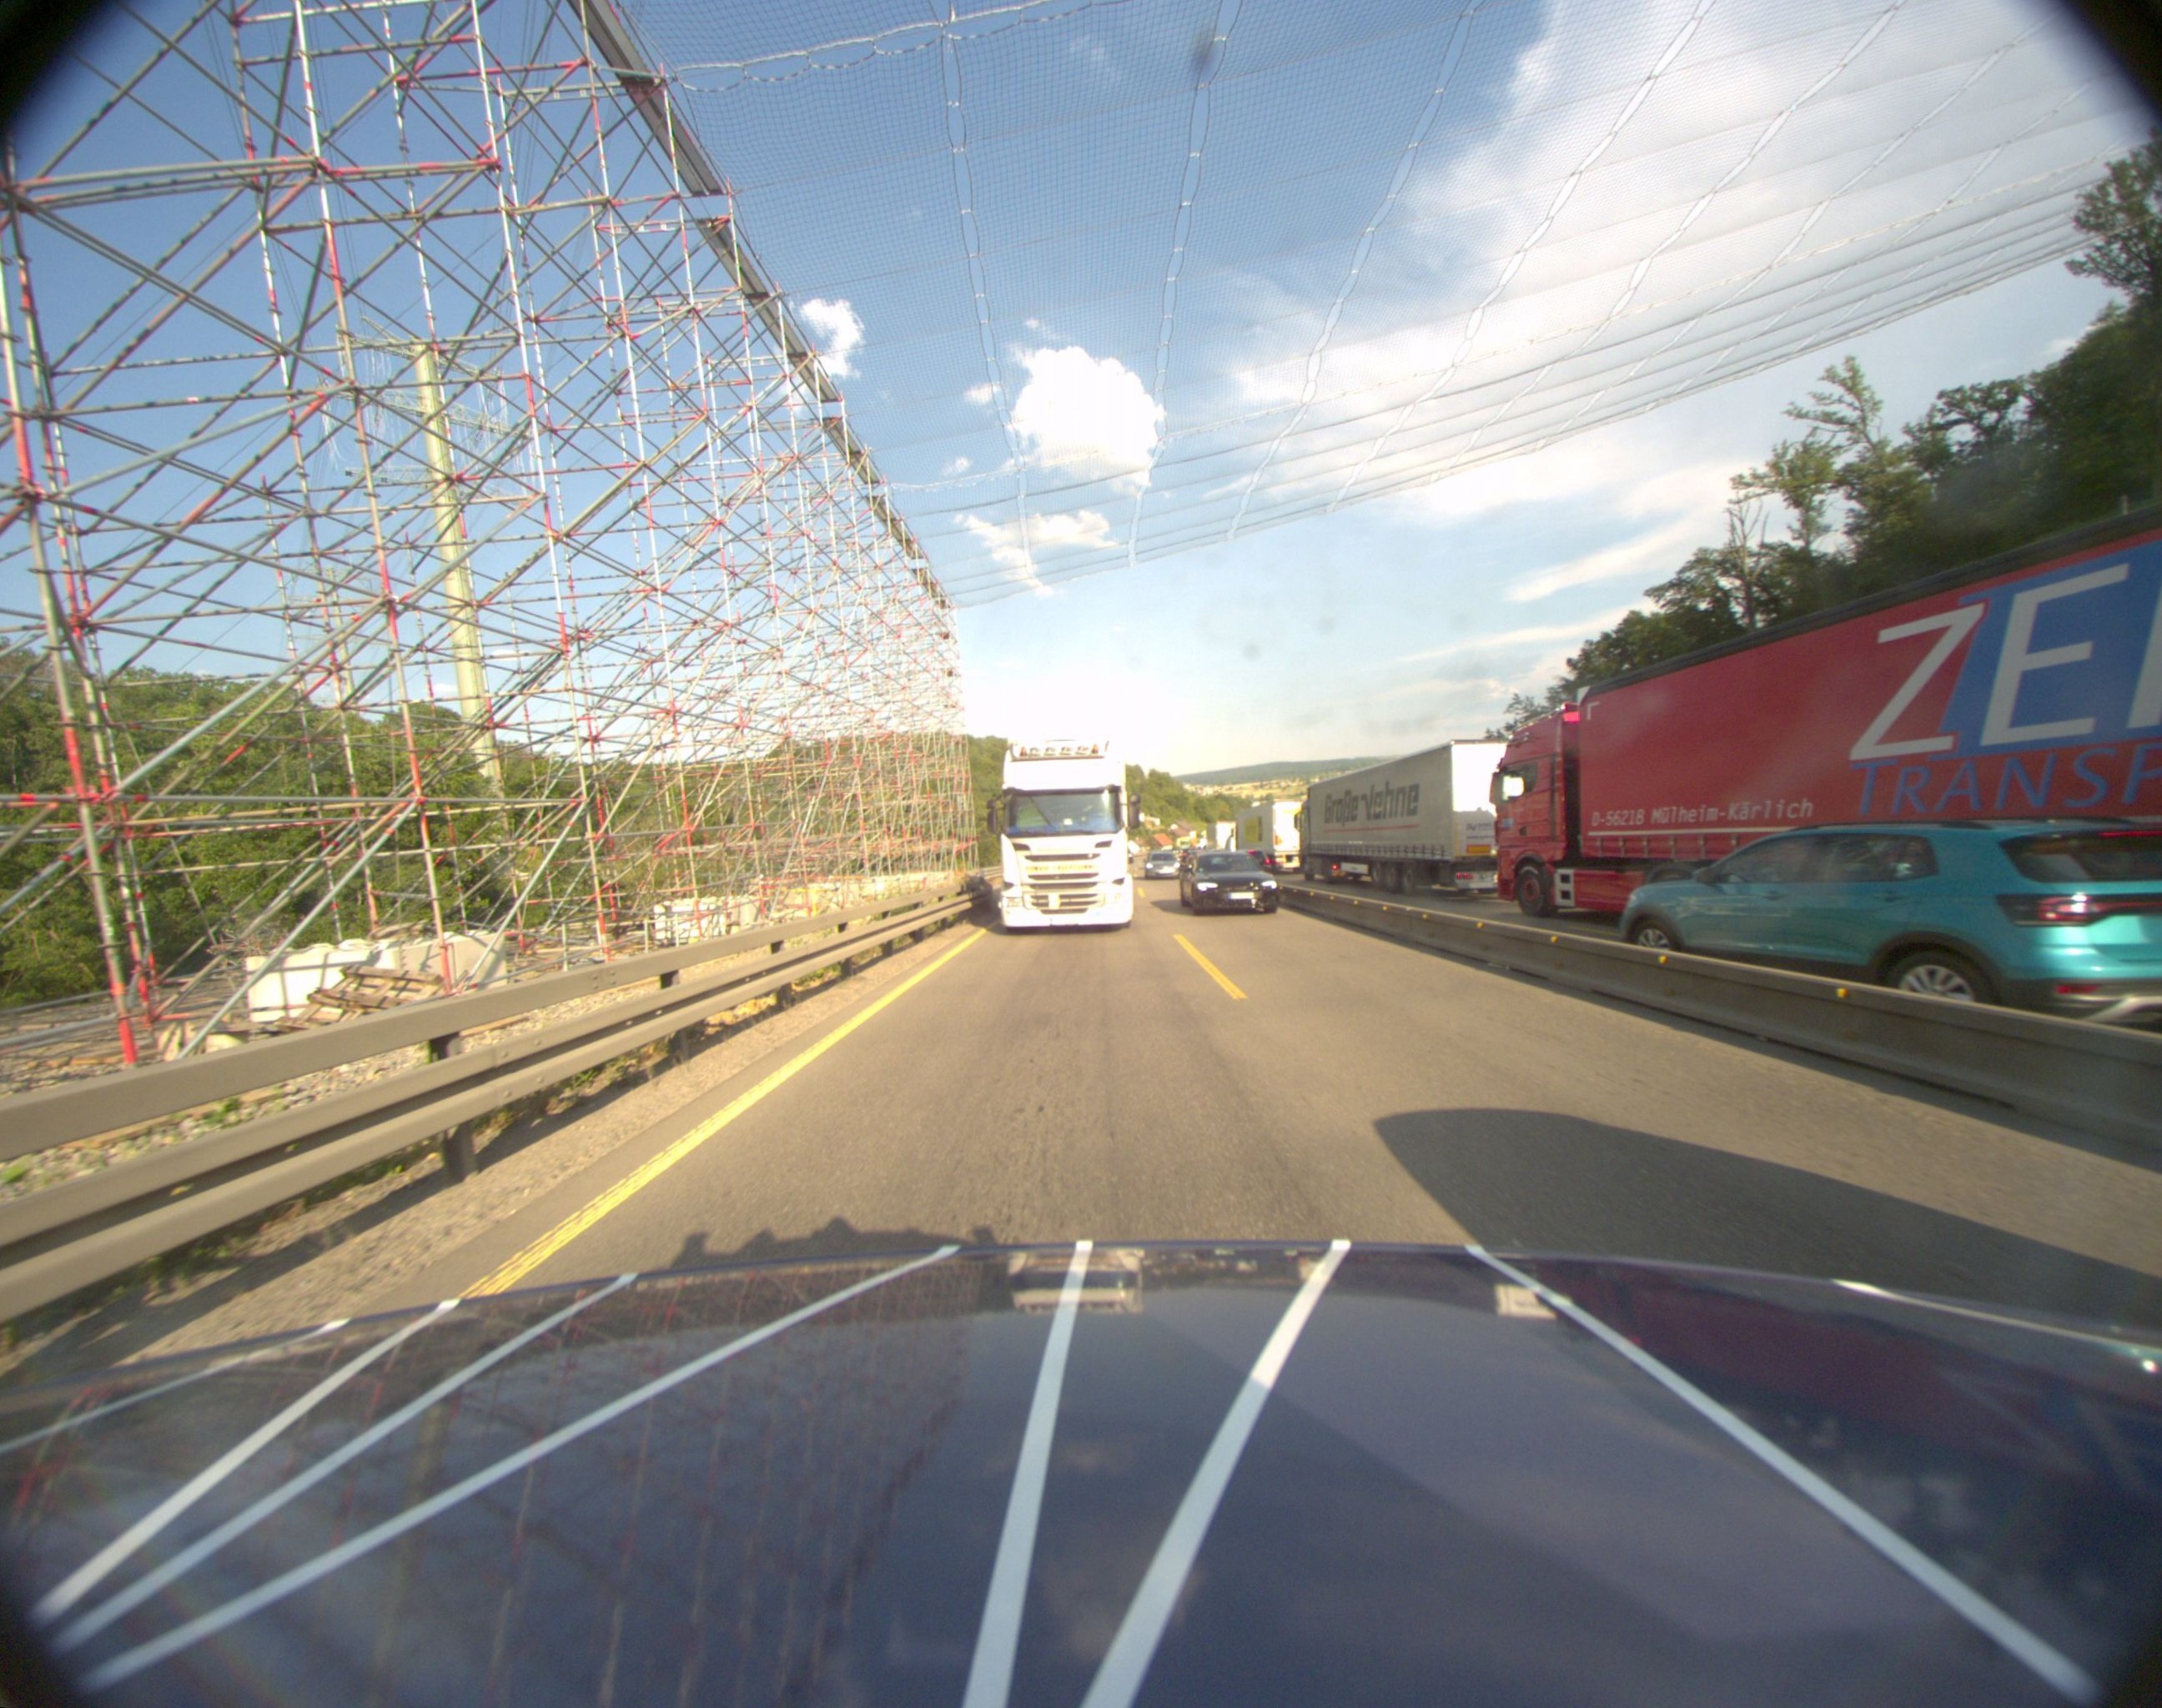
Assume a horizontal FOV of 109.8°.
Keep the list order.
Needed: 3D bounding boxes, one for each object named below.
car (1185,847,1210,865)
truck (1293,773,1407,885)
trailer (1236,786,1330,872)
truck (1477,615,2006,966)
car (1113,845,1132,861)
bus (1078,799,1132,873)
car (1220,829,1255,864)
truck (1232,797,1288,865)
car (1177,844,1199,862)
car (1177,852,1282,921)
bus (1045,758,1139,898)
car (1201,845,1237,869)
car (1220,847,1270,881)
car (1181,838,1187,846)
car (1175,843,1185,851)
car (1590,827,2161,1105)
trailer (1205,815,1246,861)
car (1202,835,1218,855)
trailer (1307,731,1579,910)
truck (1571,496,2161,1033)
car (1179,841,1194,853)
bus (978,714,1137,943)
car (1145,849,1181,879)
[{"bbox_3d":[9.678,0.126,63.440,1.735,1.369,4.892,-3,1,5],"label":"car"},{"bbox_3d":[10.930,-0.996,31.492,2.794,4.118,5.934,-2,1,3],"label":"truck"},{"bbox_3d":[11.755,-1.392,45.849,2.772,4.309,13.882,-2,1,4],"label":"trailer"},{"bbox_3d":[9.668,-0.804,12.434,2.794,4.118,6.677,-2,1,0],"label":"truck"},{"bbox_3d":[4.651,-0.132,85.842,1.998,1.630,4.000,-2,1,3],"label":"car"},{"bbox_3d":[1.843,-1.147,52.787,2.984,4.553,10.906,-1,1,5],"label":"bus"},{"bbox_3d":[13.295,-0.567,64.912,2.026,2.674,6.952,-3,-1,5],"label":"car"},{"bbox_3d":[12.161,-1.522,52.080,2.751,4.275,5.934,-2,1,4],"label":"truck"},{"bbox_3d":[10.289,-0.153,73.428,1.756,1.648,4.864,-1,1,5],"label":"car"},{"bbox_3d":[3.448,0.696,18.324,1.867,1.391,3.999,-1,1,2],"label":"car"},{"bbox_3d":[0.750,-0.884,30.137,2.984,4.553,9.969,-1,1,4],"label":"bus"},{"bbox_3d":[9.205,0.171,50.855,1.736,1.430,4.838,-3,0,3],"label":"car"},{"bbox_3d":[7.687,0.421,35.908,1.654,1.455,4.401,-3,1,4],"label":"car"},{"bbox_3d":[28.904,-3.358,213.315,1.820,1.988,4.758,0,0,8],"label":"car"},{"bbox_3d":[20.106,-1.479,154.154,1.820,1.570,4.758,0,0,8],"label":"car"},{"bbox_3d":[6.639,0.609,6.448,1.747,1.526,4.267,-3,1,0],"label":"car"},{"bbox_3d":[14.706,-1.601,78.169,2.726,4.194,13.752,-2,1,5],"label":"trailer"},{"bbox_3d":[19.541,-1.408,115.088,2.338,2.901,7.636,-1,1,10],"label":"car"},{"bbox_3d":[10.603,-0.894,24.874,2.805,4.117,13.966,-2,1,3],"label":"trailer"},{"bbox_3d":[9.692,-0.714,5.871,2.794,4.117,13.804,-2,1,0],"label":"truck"},{"bbox_3d":[14.979,-0.946,108.061,1.873,1.579,4.805,-3,1,7],"label":"car"},{"bbox_3d":[-0.016,-0.568,19.326,2.634,4.077,11.315,-1,1,5],"label":"bus"},{"bbox_3d":[4.258,0.492,39.970,1.698,1.390,4.001,-3,0,4],"label":"car"}]
